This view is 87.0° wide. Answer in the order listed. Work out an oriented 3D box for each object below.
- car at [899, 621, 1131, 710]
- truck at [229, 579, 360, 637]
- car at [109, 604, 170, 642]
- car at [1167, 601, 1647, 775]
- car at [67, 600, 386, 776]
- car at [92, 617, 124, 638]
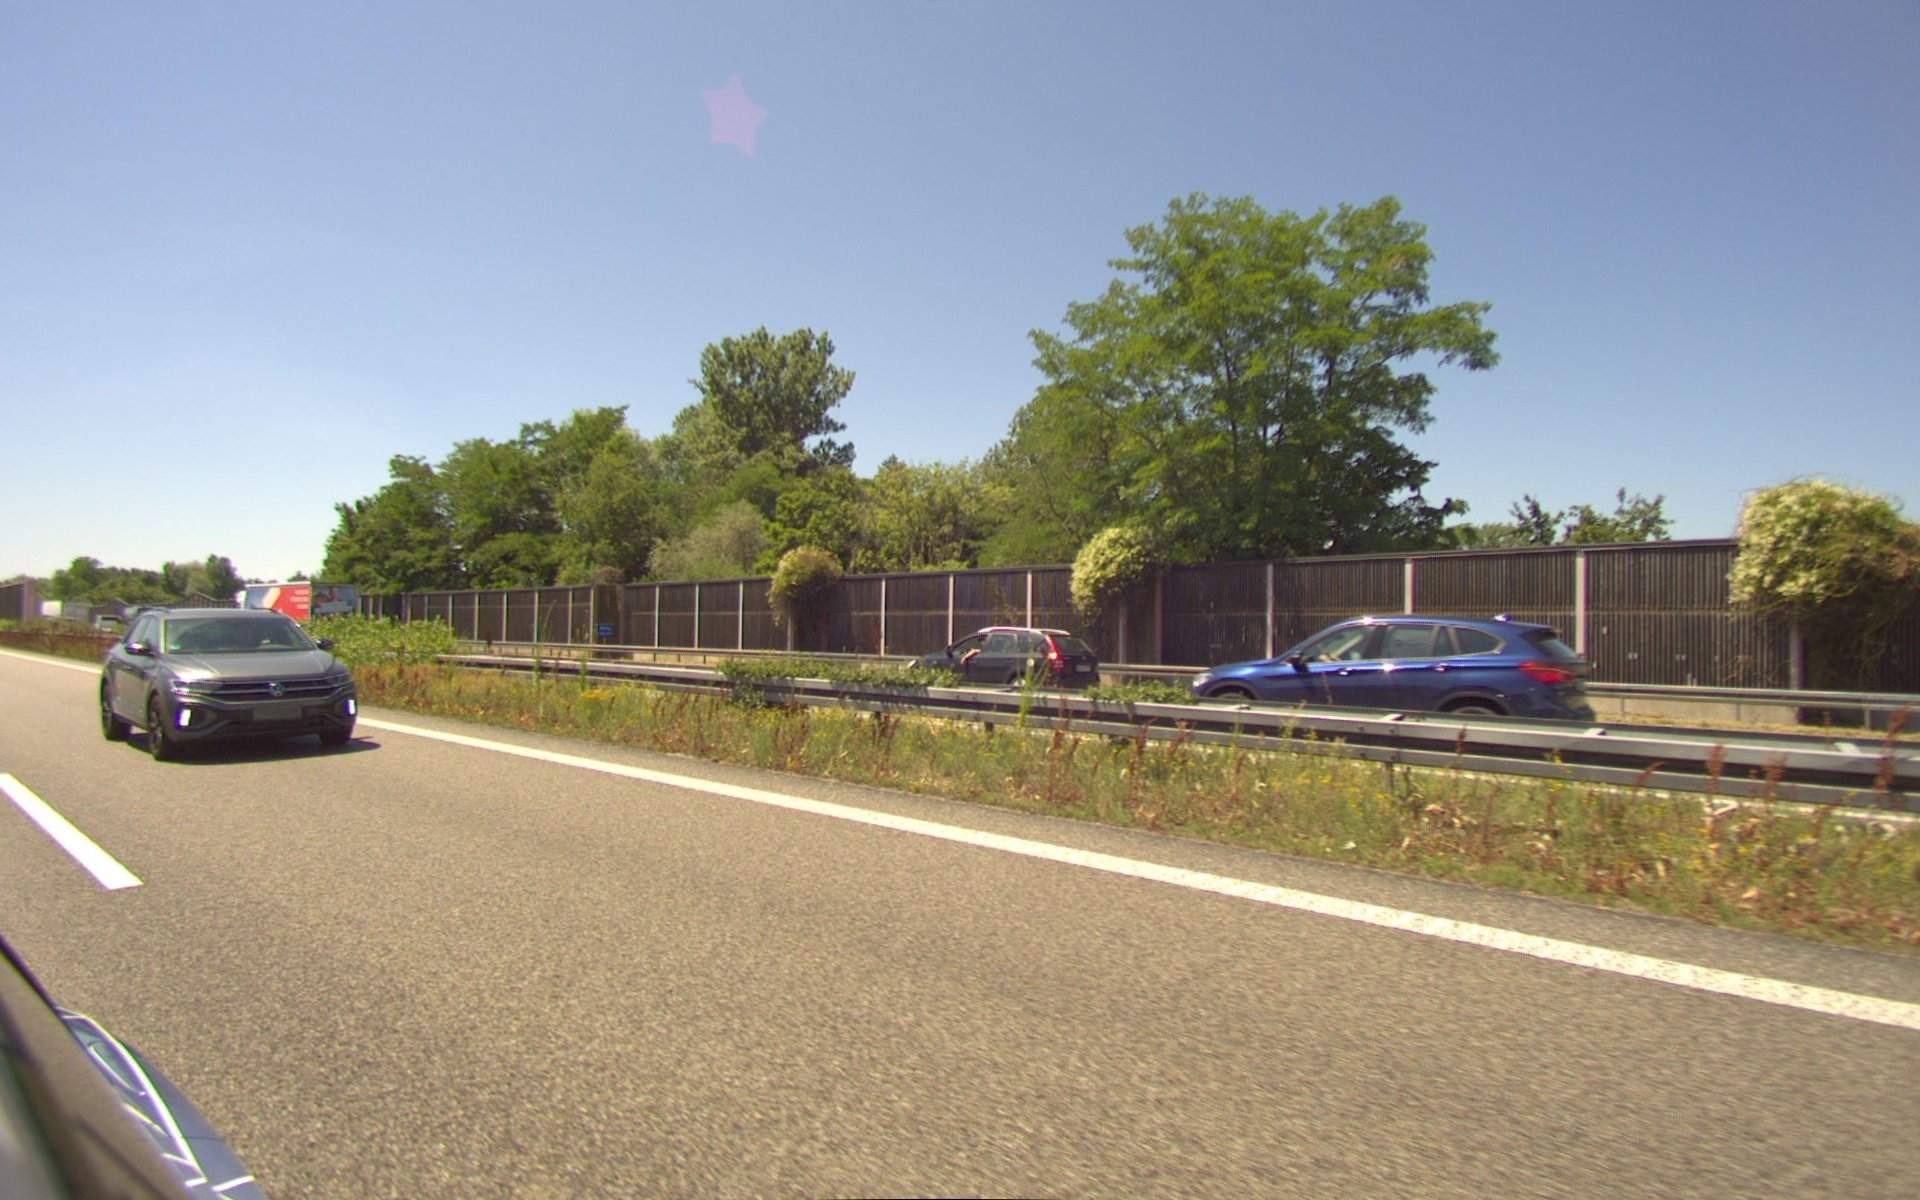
[{"bbox_3d":[1.044,1.256,20.703,4.504,1.608,1.972,-1,-2,41],"label":"car"},{"bbox_3d":[-43.471,0.686,65.661,16.998,3.367,2.808,-2,-2,42],"label":"truck"},{"bbox_3d":[-61.720,1.694,76.068,7.581,2.582,2.292,-1,2,42],"label":"car"},{"bbox_3d":[4.921,0.874,11.629,4.746,1.608,1.803,-1,-2,41],"label":"car"},{"bbox_3d":[-8.711,0.903,11.834,5.004,1.652,1.861,-2,-2,40],"label":"car"},{"bbox_3d":[-88.535,2.878,105.117,4.764,2.103,1.870,-1,-2,41],"label":"car"}]
